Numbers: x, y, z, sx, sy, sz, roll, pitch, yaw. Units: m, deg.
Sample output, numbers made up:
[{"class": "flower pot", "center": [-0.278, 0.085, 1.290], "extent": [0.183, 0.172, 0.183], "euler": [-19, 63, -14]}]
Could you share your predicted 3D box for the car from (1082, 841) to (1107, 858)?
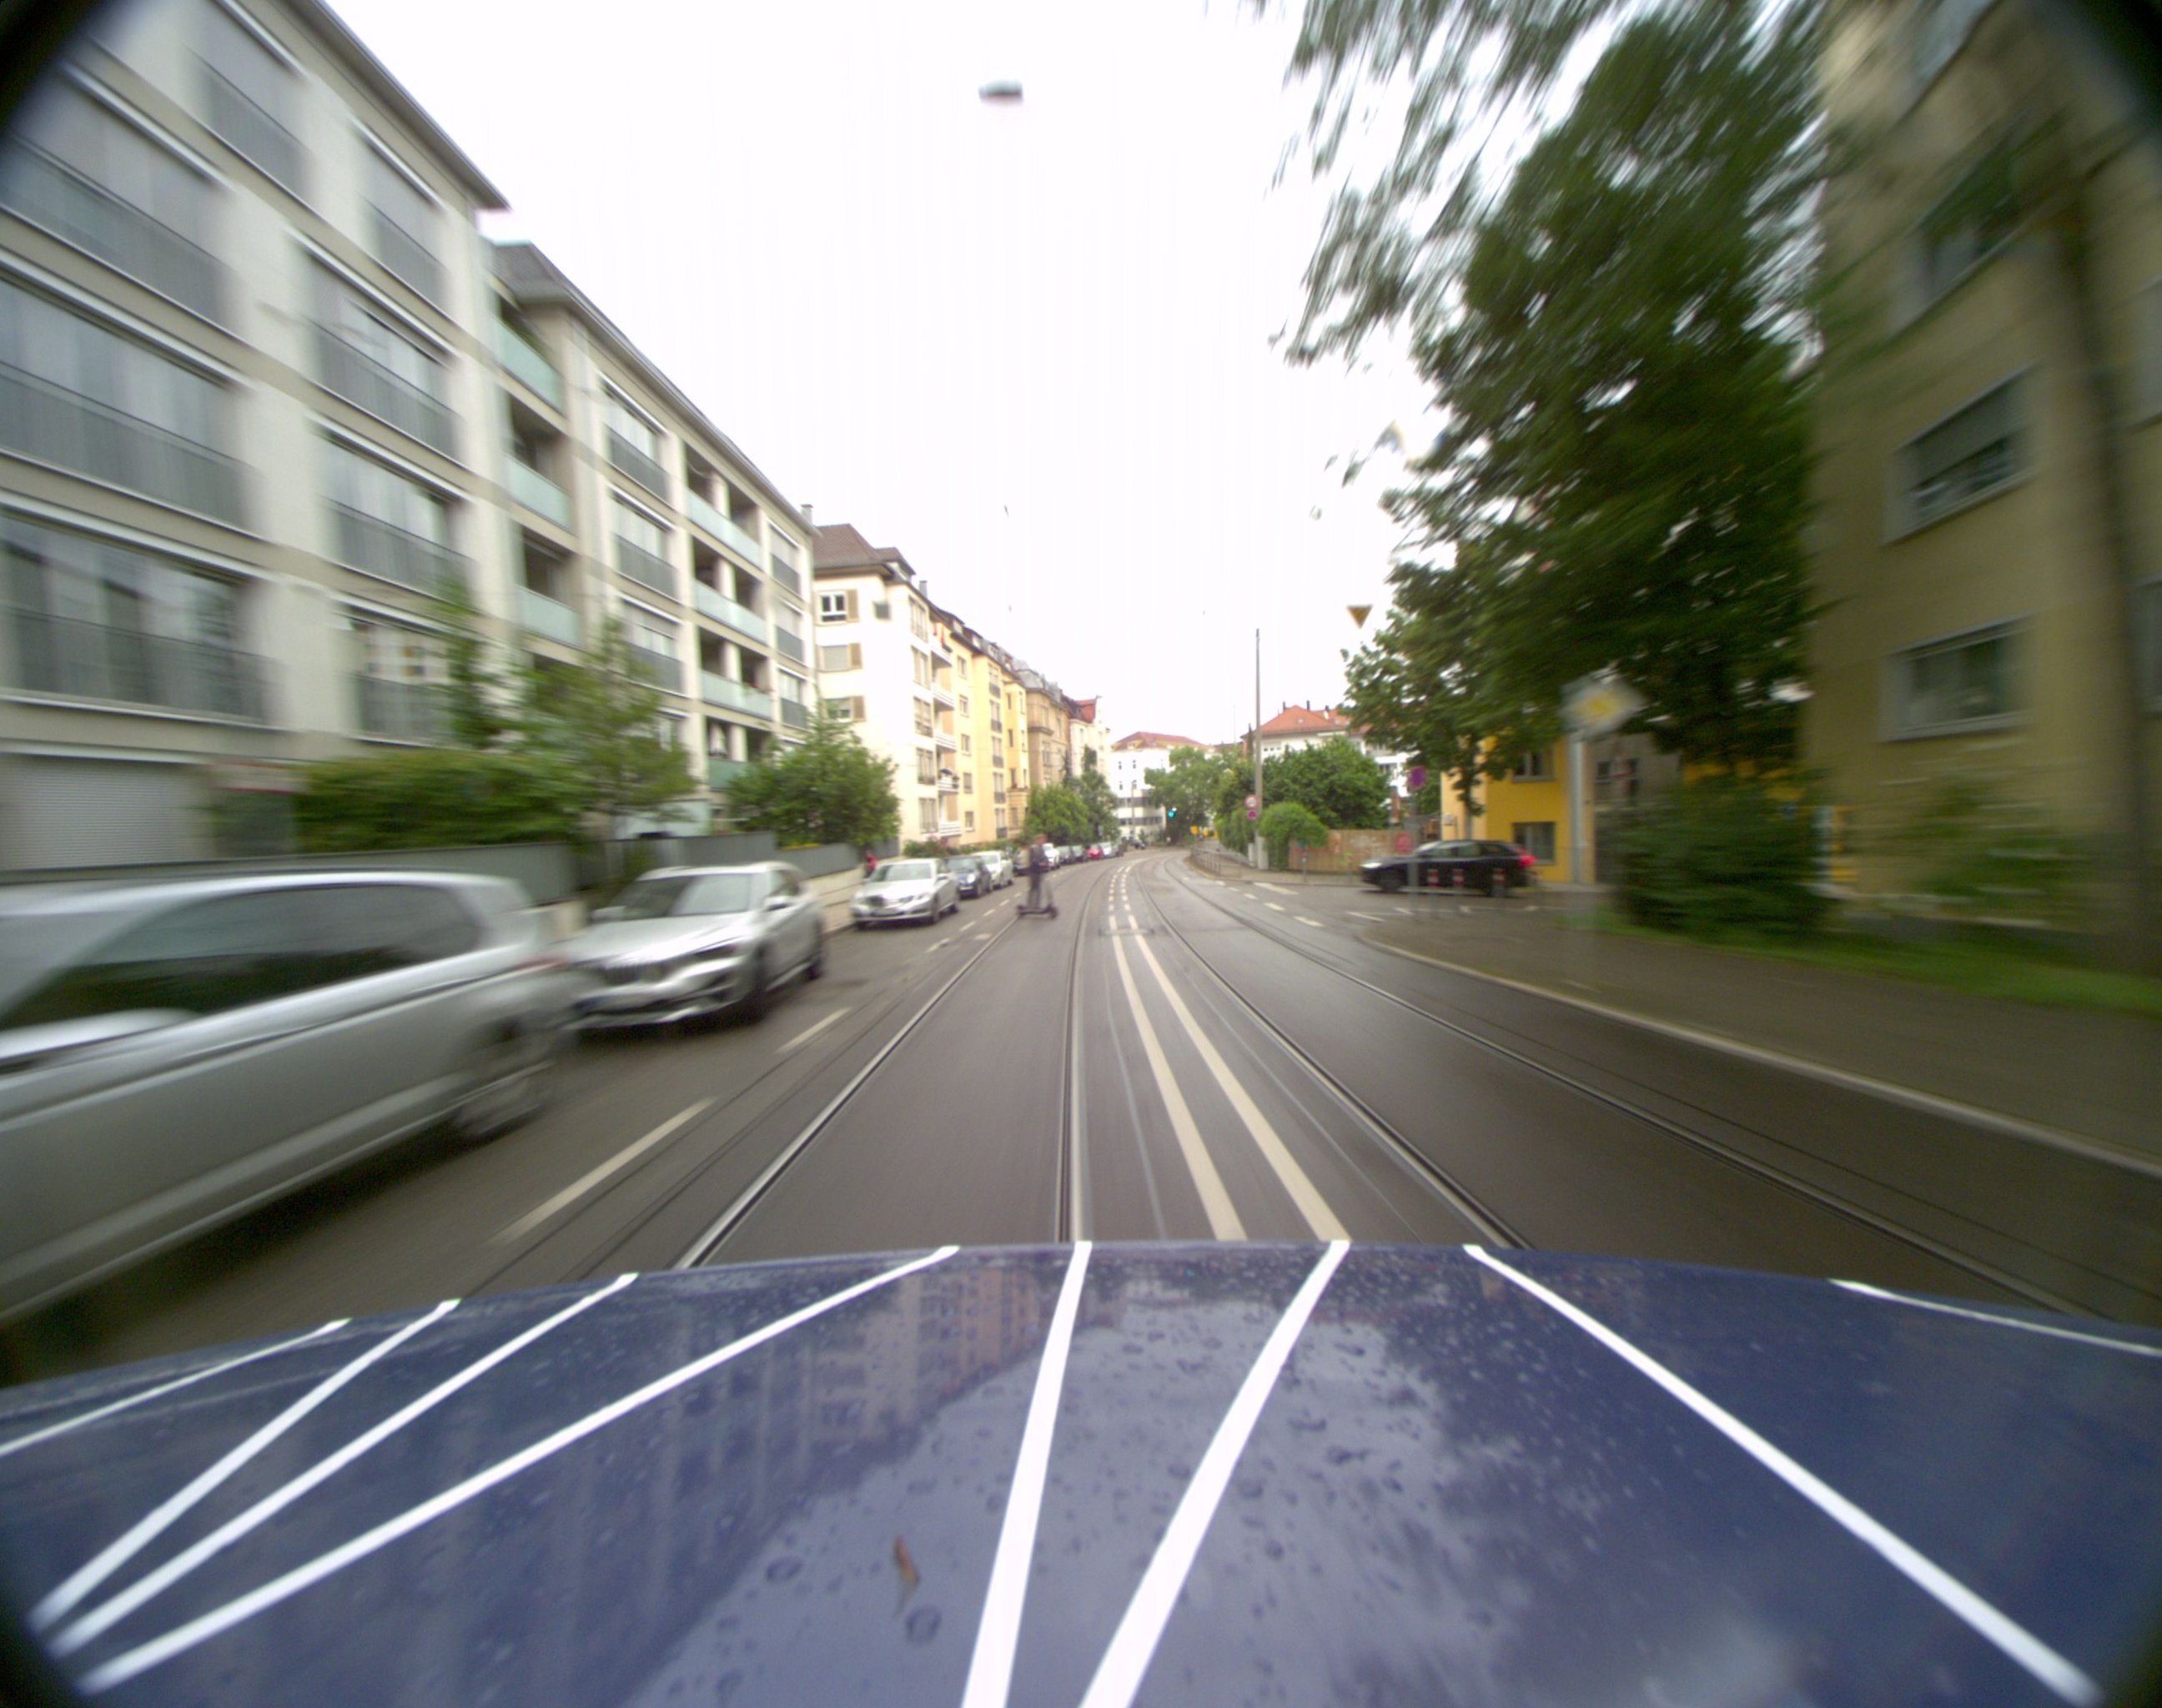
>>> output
[{"class": "car", "center": [1.226, -0.417, 68.179], "extent": [1.556, 1.360, 3.126], "euler": [-4, 1, 11]}]

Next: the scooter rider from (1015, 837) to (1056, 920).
[{"class": "scooter rider", "center": [-1.025, 0.545, 17.228], "extent": [0.688, 1.847, 0.646], "euler": [-1, 1, 17]}]

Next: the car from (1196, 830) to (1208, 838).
[{"class": "car", "center": [23.402, -3.922, 146.861], "extent": [1.796, 1.502, 4.004], "euler": [-2, 2, 18]}]

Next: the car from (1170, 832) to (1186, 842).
[{"class": "car", "center": [16.055, -2.778, 125.518], "extent": [1.796, 1.502, 4.004], "euler": [-2, 2, 18]}]

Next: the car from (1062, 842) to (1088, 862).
[{"class": "car", "center": [-0.451, -0.171, 60.691], "extent": [1.658, 1.360, 3.636], "euler": [-4, 1, 6]}]

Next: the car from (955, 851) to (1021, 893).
[{"class": "car", "center": [-3.659, 0.665, 30.562], "extent": [1.721, 1.458, 4.391], "euler": [-3, 0, 4]}]

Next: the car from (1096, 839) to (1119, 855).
[{"class": "car", "center": [2.718, -0.713, 77.262], "extent": [1.613, 1.434, 3.690], "euler": [-4, 1, 11]}]

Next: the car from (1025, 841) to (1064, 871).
[{"class": "car", "center": [-2.180, 0.073, 46.426], "extent": [1.798, 1.613, 3.868], "euler": [-4, 1, 4]}]

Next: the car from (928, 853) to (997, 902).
[{"class": "car", "center": [-3.945, 0.747, 25.819], "extent": [1.600, 1.416, 3.515], "euler": [-3, 0, 2]}]

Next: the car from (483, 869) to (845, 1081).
[{"class": "car", "center": [-4.224, 1.061, 8.743], "extent": [1.981, 1.575, 4.563], "euler": [-3, 0, -7]}]

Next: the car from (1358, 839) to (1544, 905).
[{"class": "car", "center": [10.872, 0.462, 22.794], "extent": [4.760, 1.669, 2.073], "euler": [2, 3, 20]}]

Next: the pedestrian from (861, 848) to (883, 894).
[{"class": "pedestrian", "center": [-7.340, 0.584, 26.712], "extent": [0.583, 1.577, 0.568], "euler": [-2, 2, -31]}]

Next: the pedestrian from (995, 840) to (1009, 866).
[{"class": "pedestrian", "center": [-4.710, -0.068, 45.350], "extent": [0.667, 1.560, 0.915], "euler": [0, 2, 8]}]

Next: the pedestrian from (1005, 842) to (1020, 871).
[{"class": "pedestrian", "center": [-3.992, 0.137, 44.244], "extent": [0.716, 1.703, 0.665], "euler": [0, 2, 8]}]

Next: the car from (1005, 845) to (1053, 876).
[{"class": "car", "center": [-2.771, 0.299, 41.461], "extent": [1.798, 1.444, 4.104], "euler": [-4, 1, 7]}]

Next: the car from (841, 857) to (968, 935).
[{"class": "car", "center": [-4.103, 0.894, 18.506], "extent": [1.863, 1.507, 4.788], "euler": [-3, 0, 0]}]

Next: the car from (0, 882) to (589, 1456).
[{"class": "car", "center": [-4.276, 1.060, 2.952], "extent": [1.837, 1.618, 4.661], "euler": [-3, 0, -4]}]

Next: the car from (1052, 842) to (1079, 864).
[{"class": "car", "center": [-1.099, -0.074, 55.561], "extent": [1.590, 1.434, 3.476], "euler": [-4, 1, 5]}]

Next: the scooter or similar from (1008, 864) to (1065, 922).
[{"class": "scooter or similar", "center": [-1.006, 0.874, 17.239], "extent": [1.087, 1.253, 0.646], "euler": [-1, 1, 17]}]
